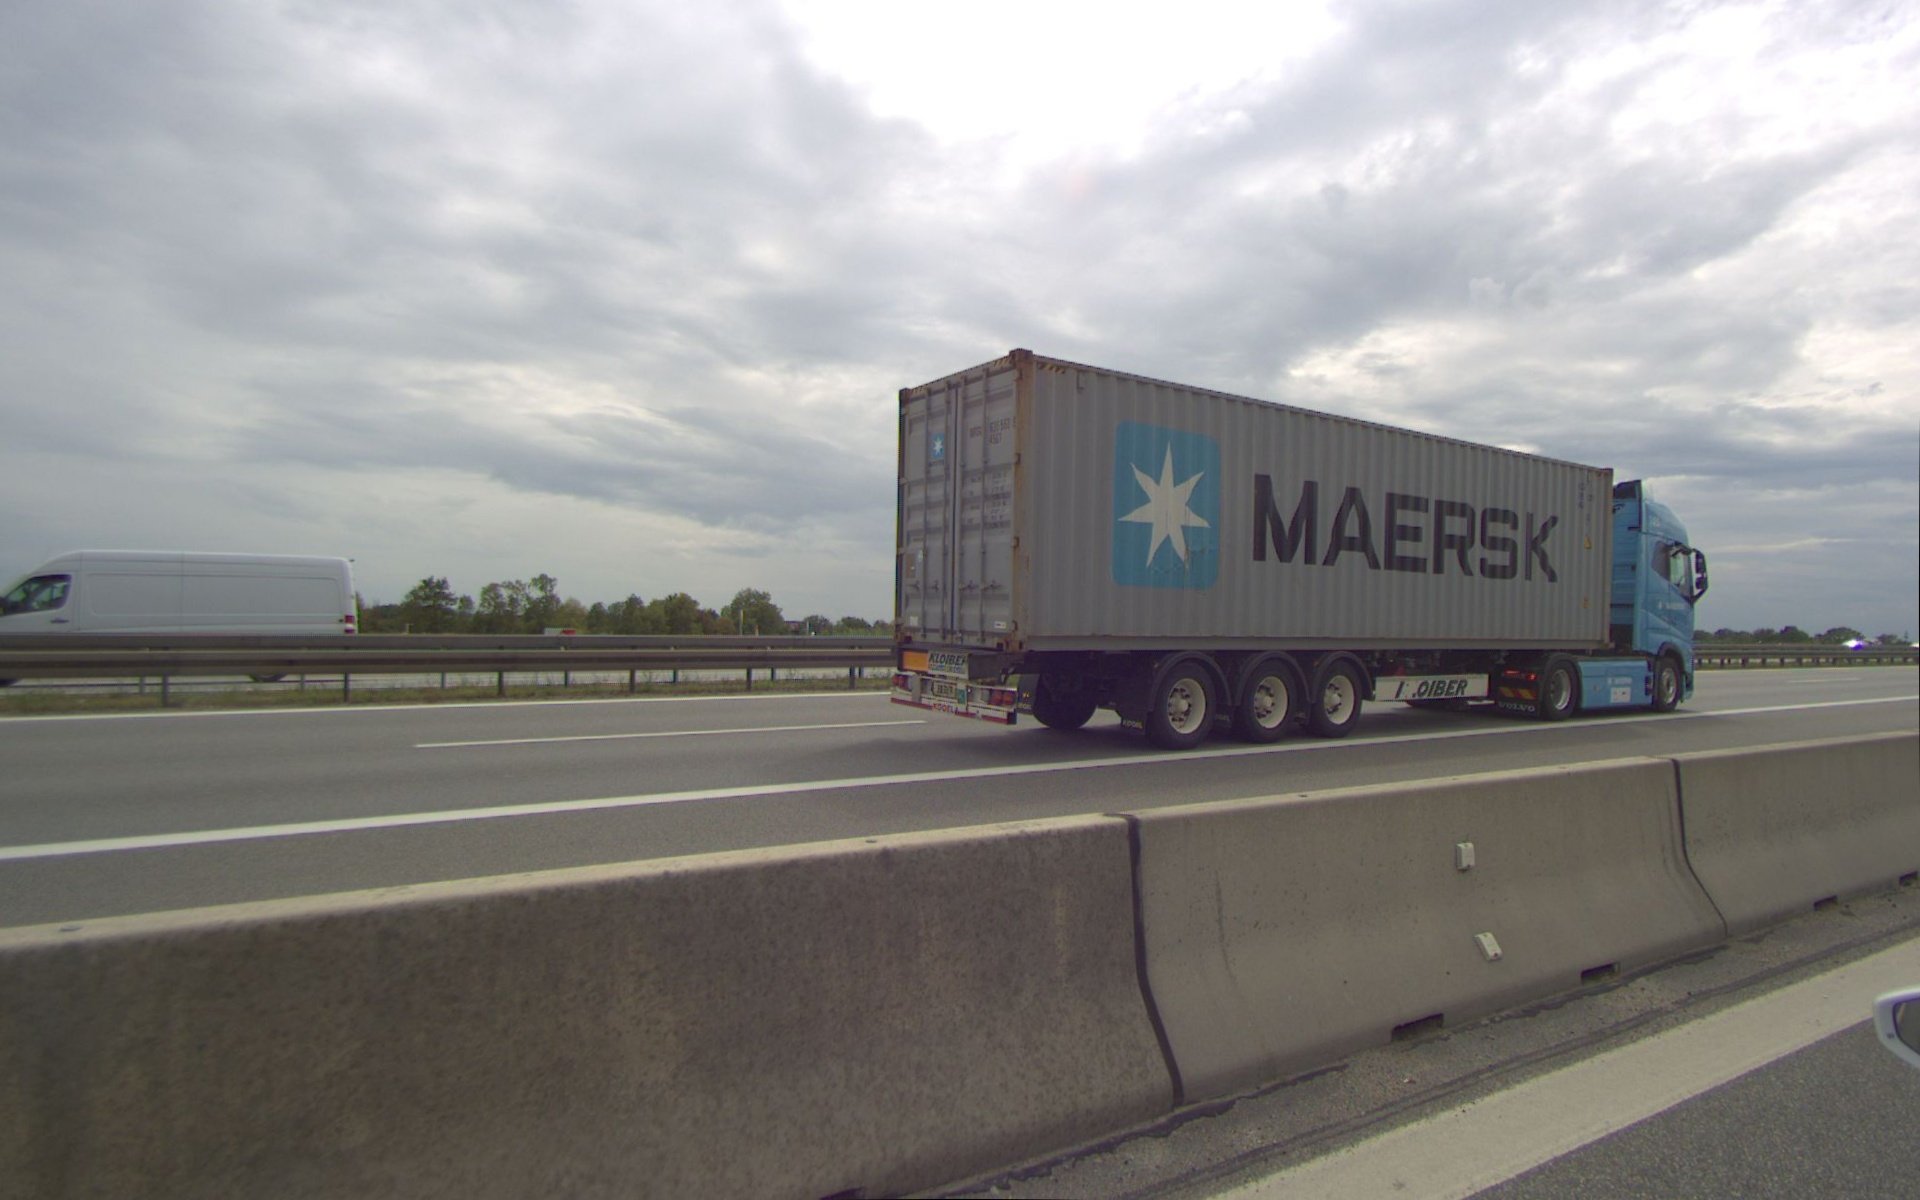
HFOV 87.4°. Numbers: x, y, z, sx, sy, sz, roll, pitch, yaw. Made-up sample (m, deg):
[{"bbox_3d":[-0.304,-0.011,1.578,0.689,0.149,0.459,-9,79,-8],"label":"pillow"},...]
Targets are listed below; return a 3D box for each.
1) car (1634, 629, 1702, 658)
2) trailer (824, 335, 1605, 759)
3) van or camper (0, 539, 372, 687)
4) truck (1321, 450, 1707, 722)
[{"bbox_3d":[38.391,2.350,54.440,3.954,1.483,1.515,2,0,-31],"label":"car"},{"bbox_3d":[4.374,-0.336,14.150,12.249,3.976,3.217,2,0,-34],"label":"trailer"},{"bbox_3d":[-15.839,0.285,20.171,6.832,2.654,2.173,2,-1,-34],"label":"van or camper"},{"bbox_3d":[9.900,-0.128,17.809,6.538,3.963,3.229,2,0,-32],"label":"truck"}]
